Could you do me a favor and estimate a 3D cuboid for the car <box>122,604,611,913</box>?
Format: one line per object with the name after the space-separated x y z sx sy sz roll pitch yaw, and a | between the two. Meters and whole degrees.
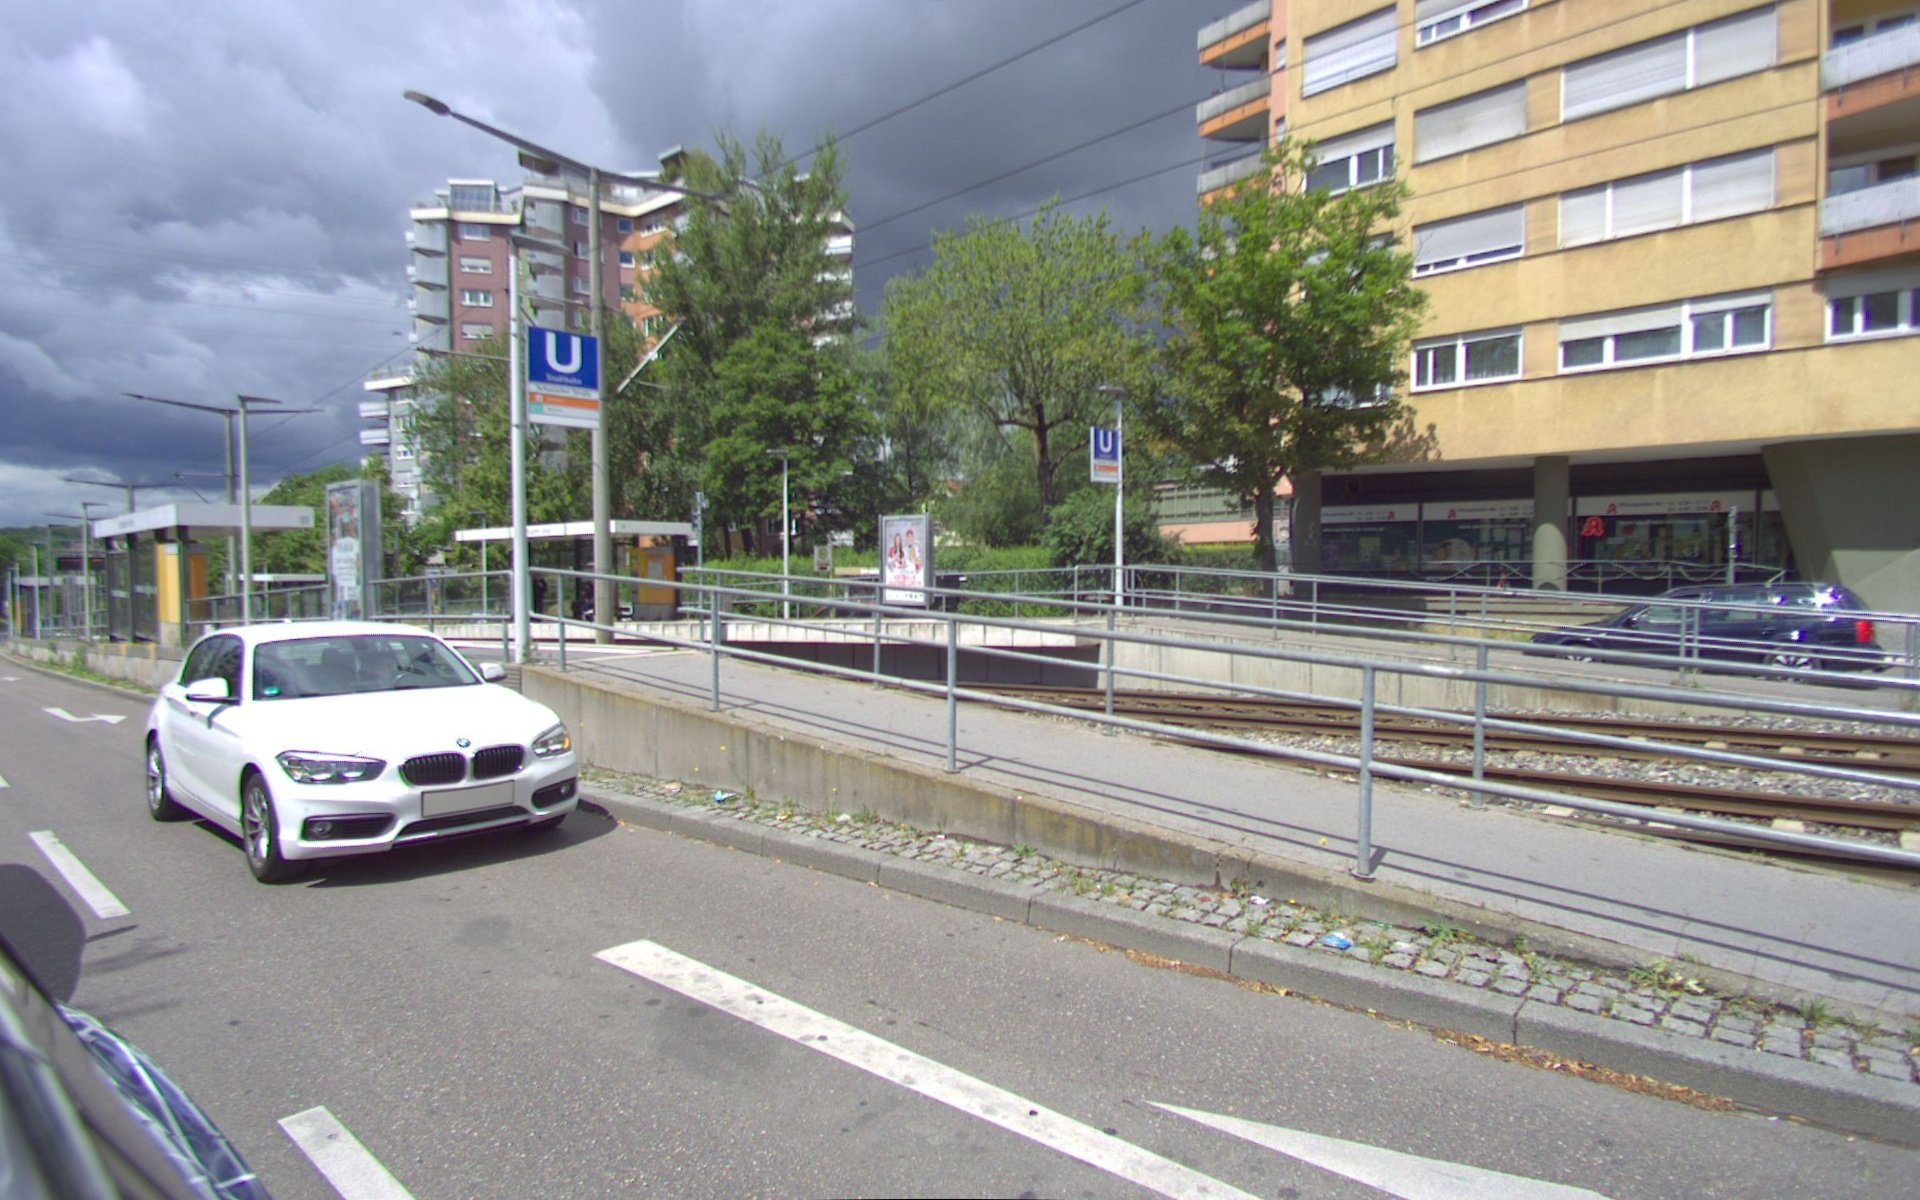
-4.204 0.797 6.884 3.998 1.472 1.710 -1 0 42 | car

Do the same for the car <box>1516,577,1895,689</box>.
10.711 0.481 14.846 4.249 1.424 1.613 -2 -1 39 | car

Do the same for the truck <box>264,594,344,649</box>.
-41.338 1.363 63.682 7.260 3.247 2.389 -2 -1 42 | truck

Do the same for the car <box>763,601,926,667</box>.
-3.201 0.904 27.479 4.460 1.647 1.972 -1 -2 42 | car
